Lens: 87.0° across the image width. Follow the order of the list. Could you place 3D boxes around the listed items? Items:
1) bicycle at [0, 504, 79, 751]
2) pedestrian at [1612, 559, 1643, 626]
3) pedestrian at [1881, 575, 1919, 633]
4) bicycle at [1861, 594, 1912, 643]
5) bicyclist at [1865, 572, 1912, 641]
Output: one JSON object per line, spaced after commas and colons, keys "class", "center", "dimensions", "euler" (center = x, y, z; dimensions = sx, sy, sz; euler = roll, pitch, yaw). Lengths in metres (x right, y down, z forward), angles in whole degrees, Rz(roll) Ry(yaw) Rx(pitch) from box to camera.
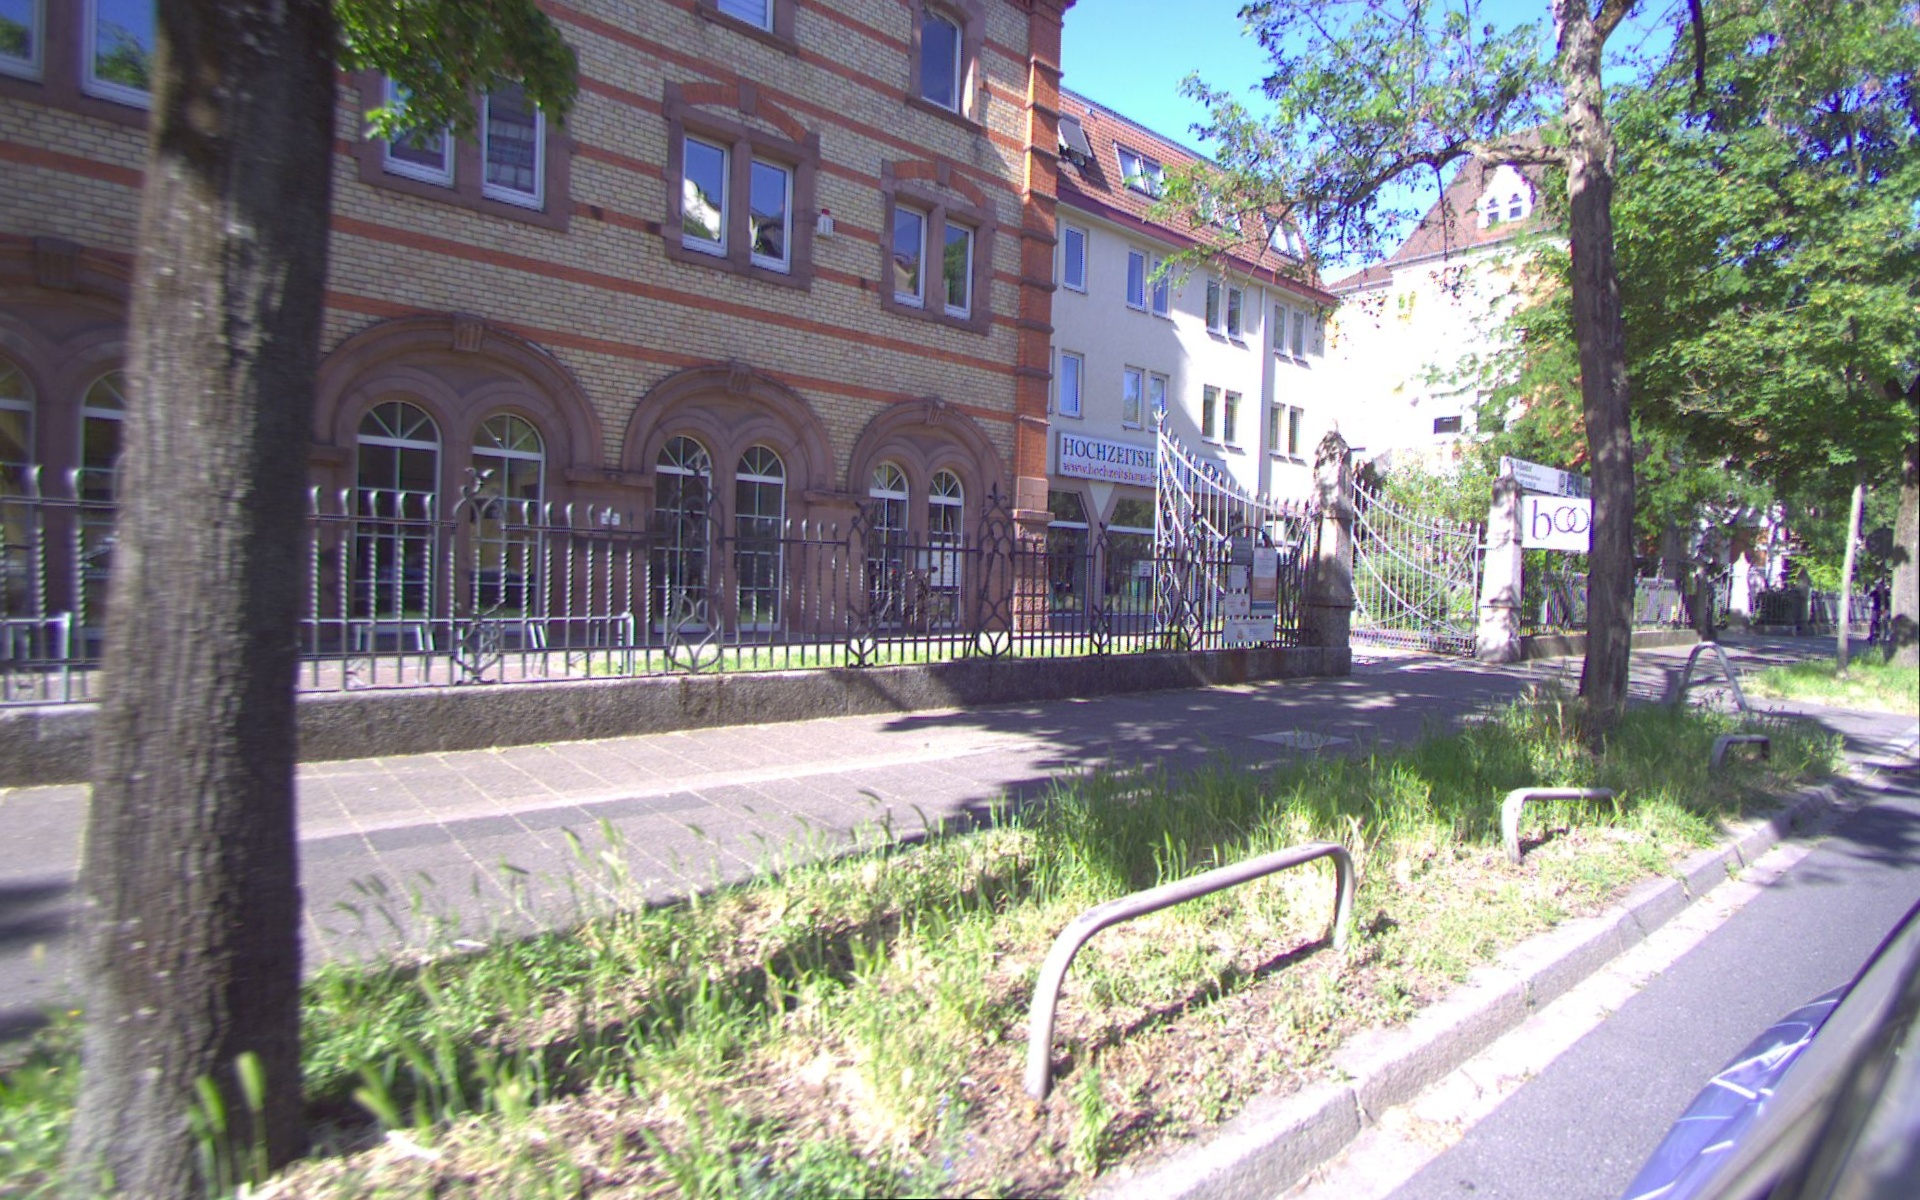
{"class": "bicycle", "center": [-5.440, 0.083, 5.607], "dimensions": [2.197, 1.193, 0.676], "euler": [4, 3, 44]}
{"class": "pedestrian", "center": [18.301, -0.218, 27.755], "dimensions": [0.527, 1.800, 0.539], "euler": [4, 2, 23]}
{"class": "pedestrian", "center": [30.859, 0.119, 33.145], "dimensions": [0.796, 1.808, 0.750], "euler": [1, 5, -40]}
{"class": "bicycle", "center": [24.073, 0.480, 26.284], "dimensions": [1.810, 1.190, 0.654], "euler": [1, 5, -41]}
{"class": "bicyclist", "center": [24.121, 0.159, 26.291], "dimensions": [0.873, 1.715, 0.647], "euler": [2, 4, -40]}
